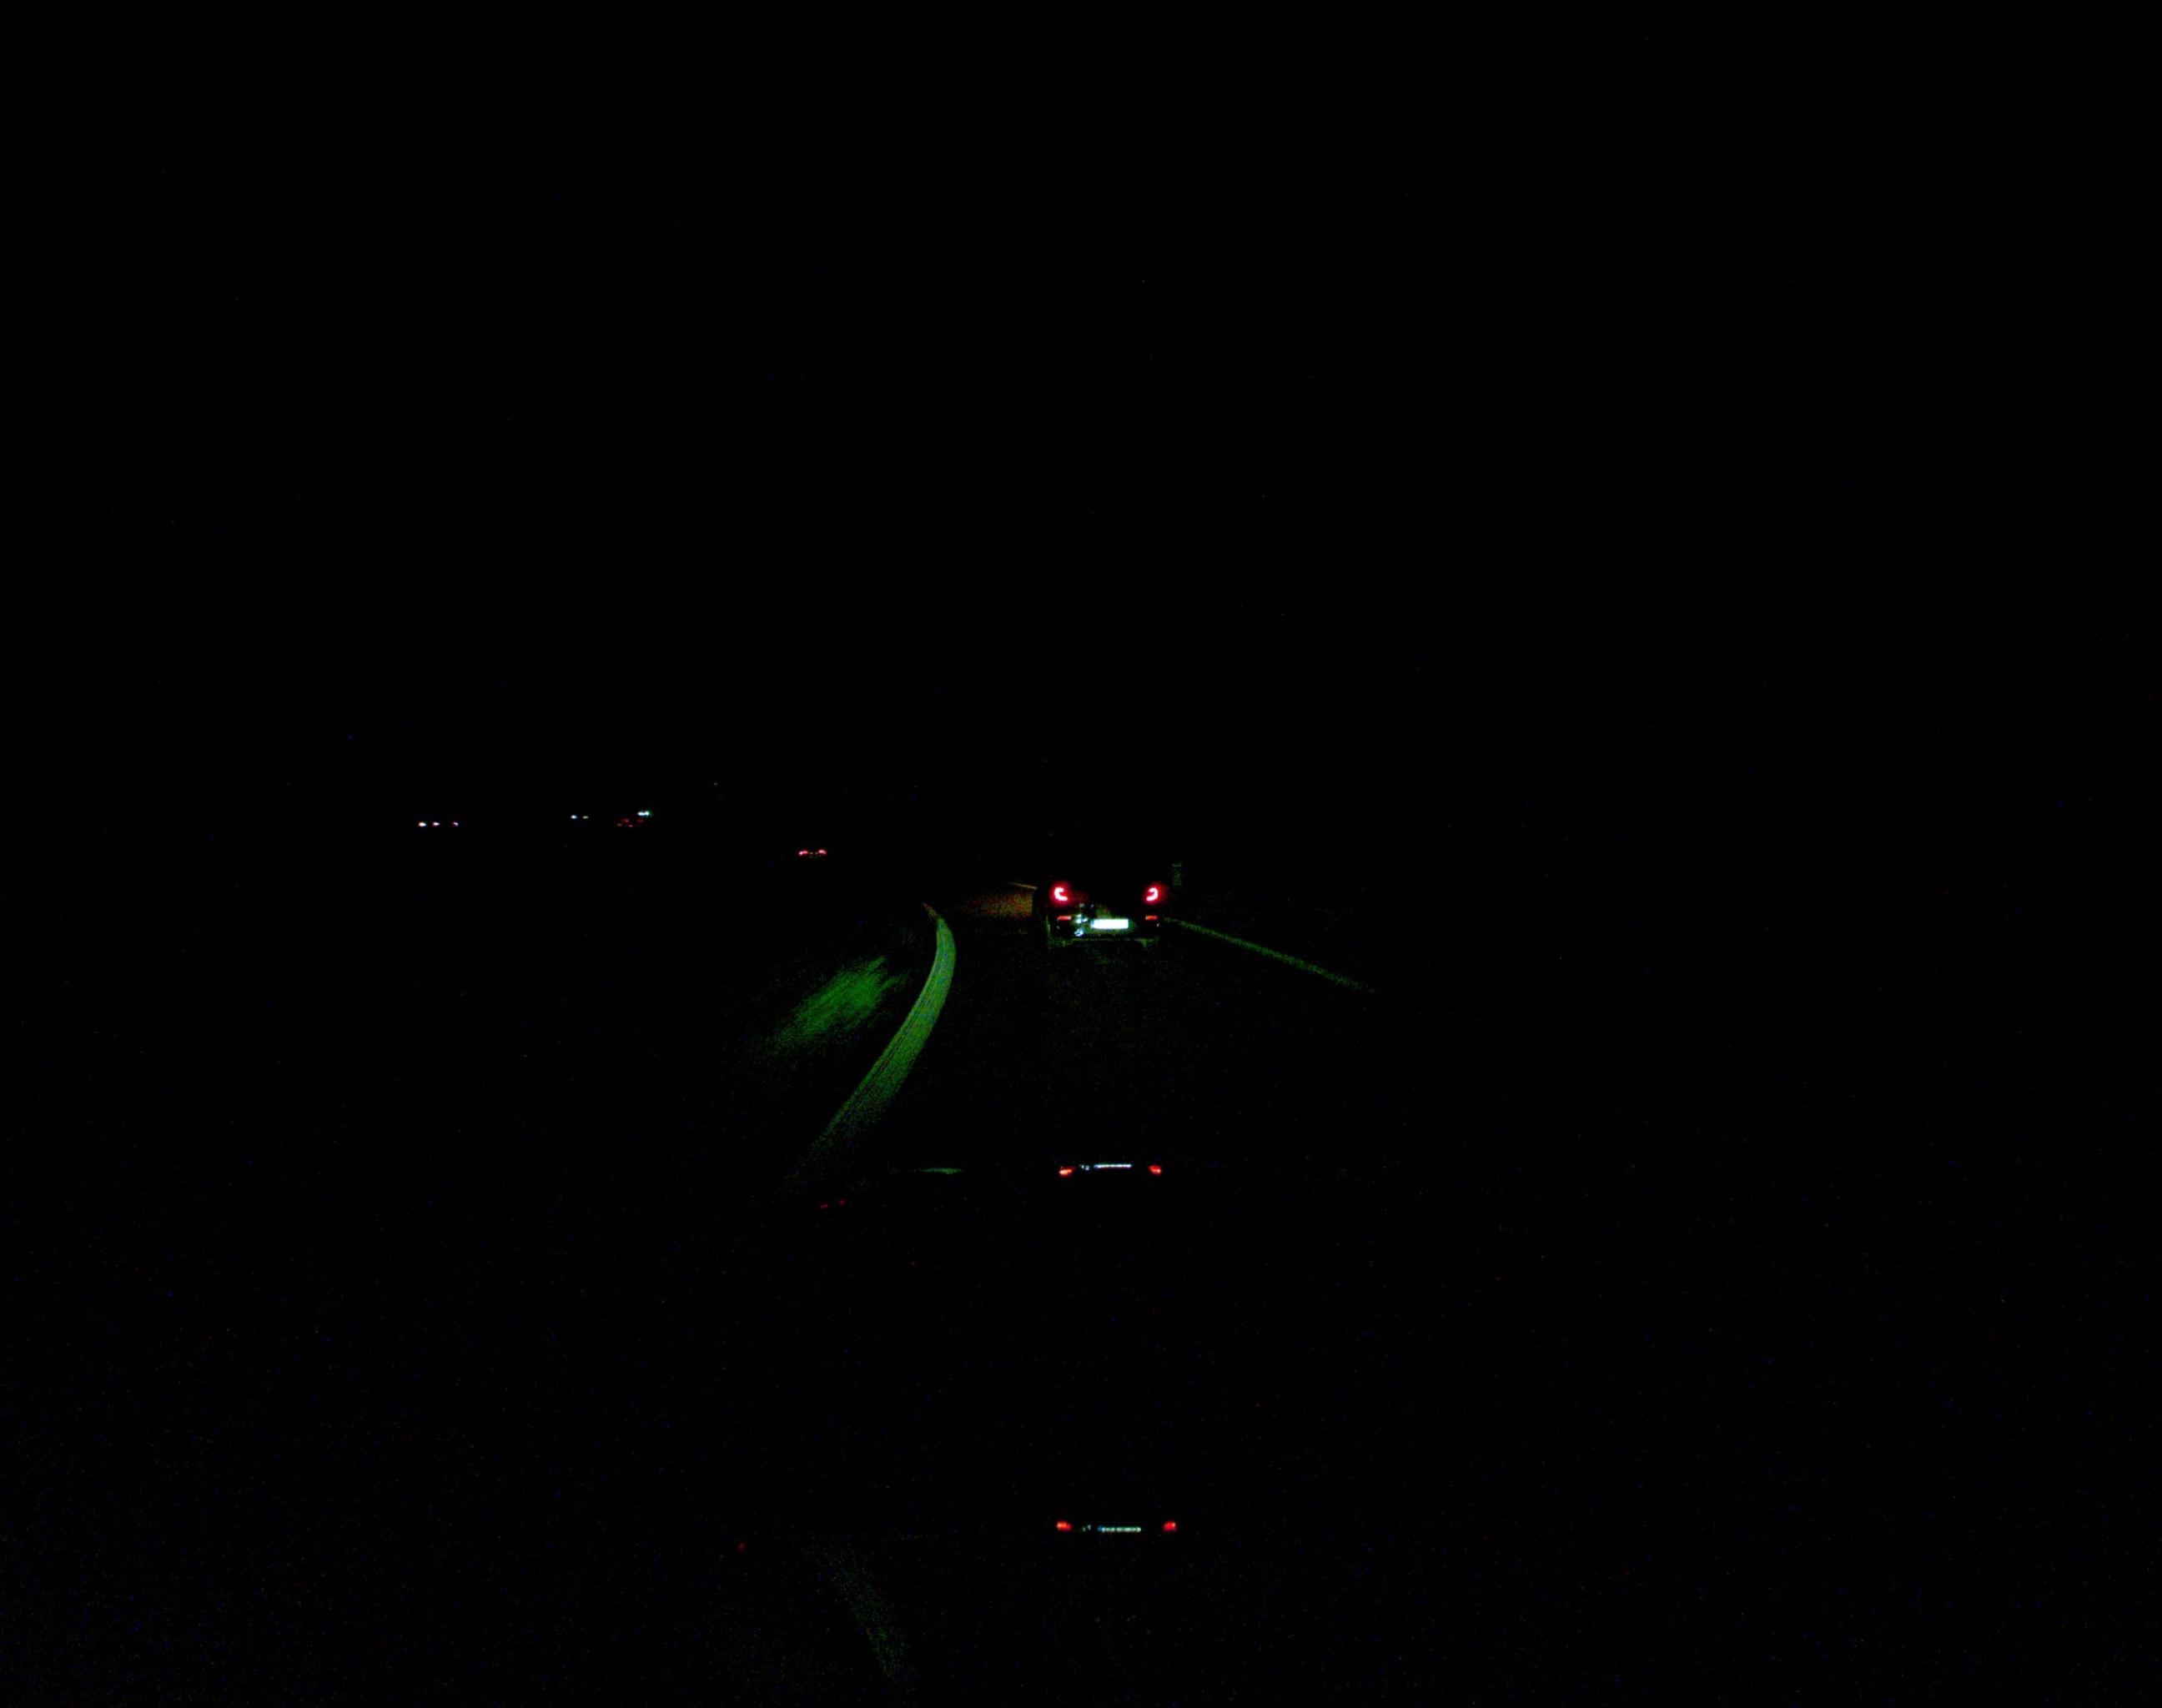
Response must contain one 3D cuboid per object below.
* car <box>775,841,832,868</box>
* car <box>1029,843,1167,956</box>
[{"bbox_3d":[-17.673,0.019,51.753,1.968,1.537,4.192,-4,4,-40],"label":"car"},{"bbox_3d":[0.107,0.671,13.022,1.689,1.478,3.991,-1,-2,-6],"label":"car"}]
